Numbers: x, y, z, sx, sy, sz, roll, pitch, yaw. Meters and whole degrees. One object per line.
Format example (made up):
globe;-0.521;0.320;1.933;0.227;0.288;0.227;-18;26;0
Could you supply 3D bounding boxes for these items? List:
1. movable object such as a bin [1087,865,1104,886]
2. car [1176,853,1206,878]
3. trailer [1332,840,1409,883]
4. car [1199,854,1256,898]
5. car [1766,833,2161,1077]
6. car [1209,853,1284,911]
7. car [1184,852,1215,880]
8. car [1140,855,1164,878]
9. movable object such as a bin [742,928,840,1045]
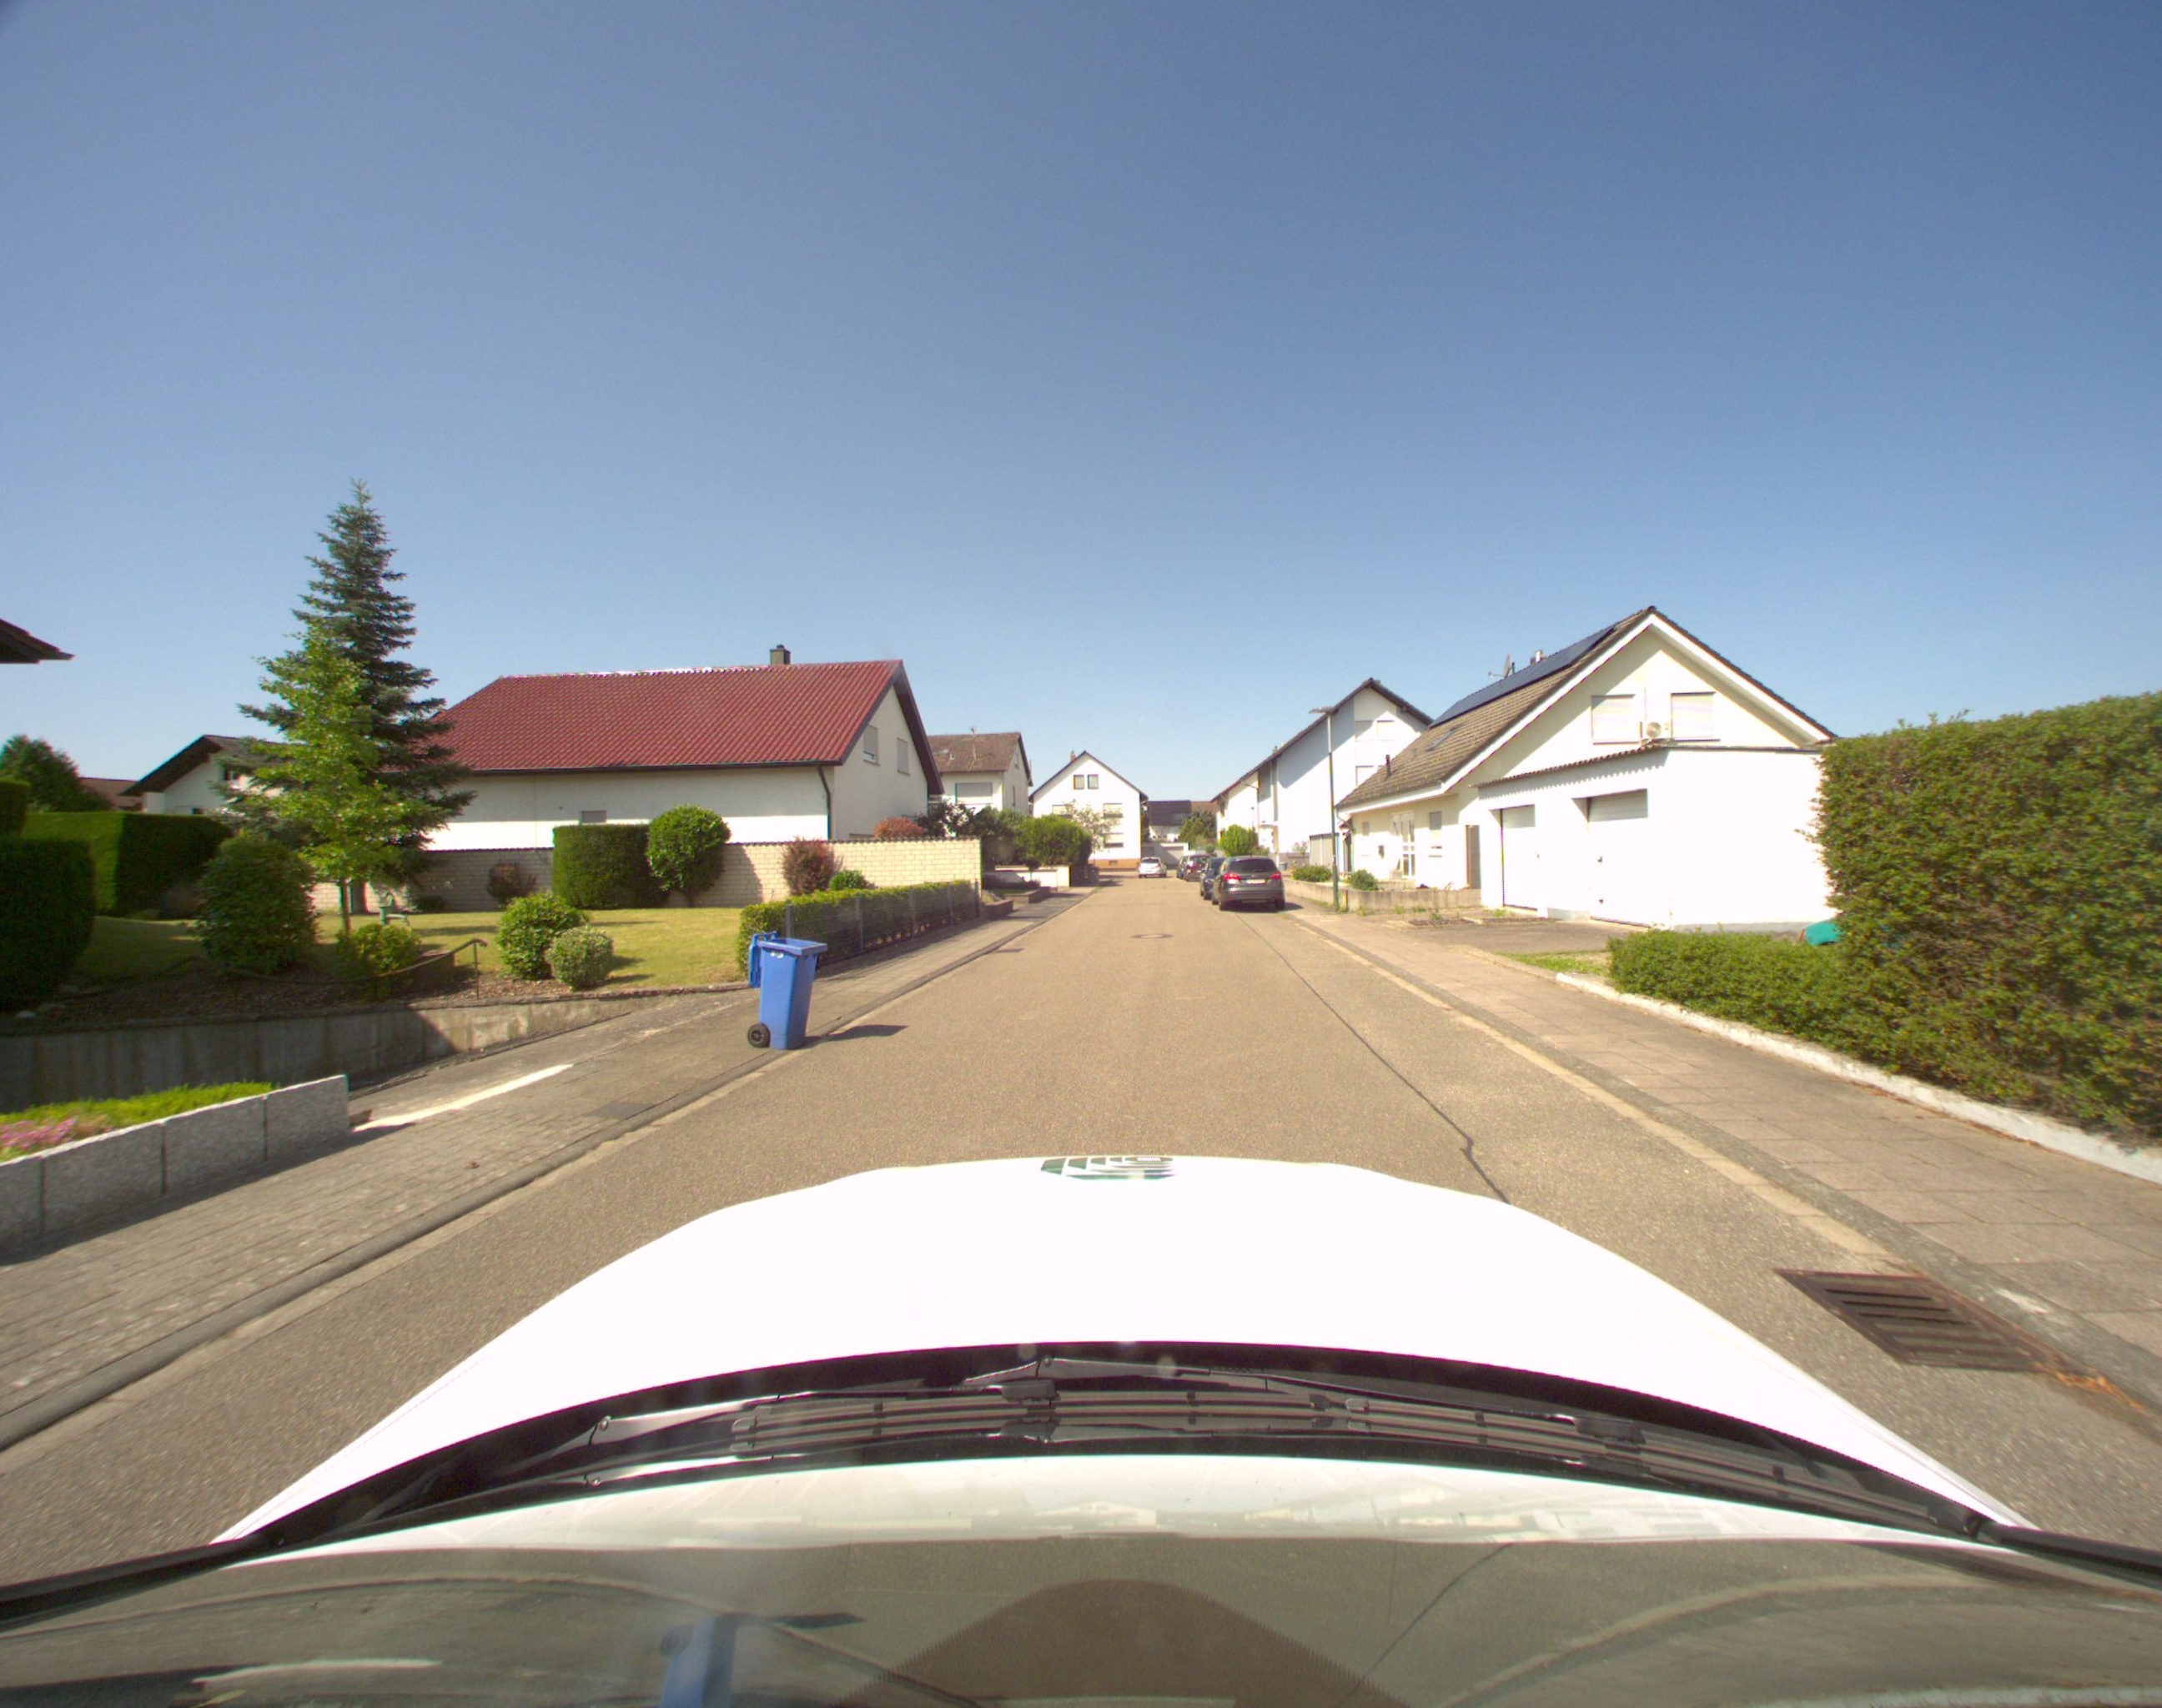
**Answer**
movable object such as a bin;0.769;1.141;42.747;0.814;1.063;0.611;-2;0;4
car;7.405;0.734;54.878;1.638;1.546;4.051;-2;0;3
trailer;12.279;0.319;34.654;2.820;1.690;1.404;-2;0;5
car;5.203;0.748;29.401;1.708;1.438;4.511;-2;0;7
car;6.868;0.555;5.599;1.487;1.359;3.531;-2;0;4
car;4.672;0.739;23.477;1.635;1.478;4.005;0;0;4
car;7.208;0.693;49.851;1.637;1.581;4.153;-2;0;5
car;5.114;0.859;58.495;1.637;1.581;3.815;-2;0;5
movable object such as a bin;-2.499;1.130;7.063;0.580;0.916;0.599;-1;0;6
